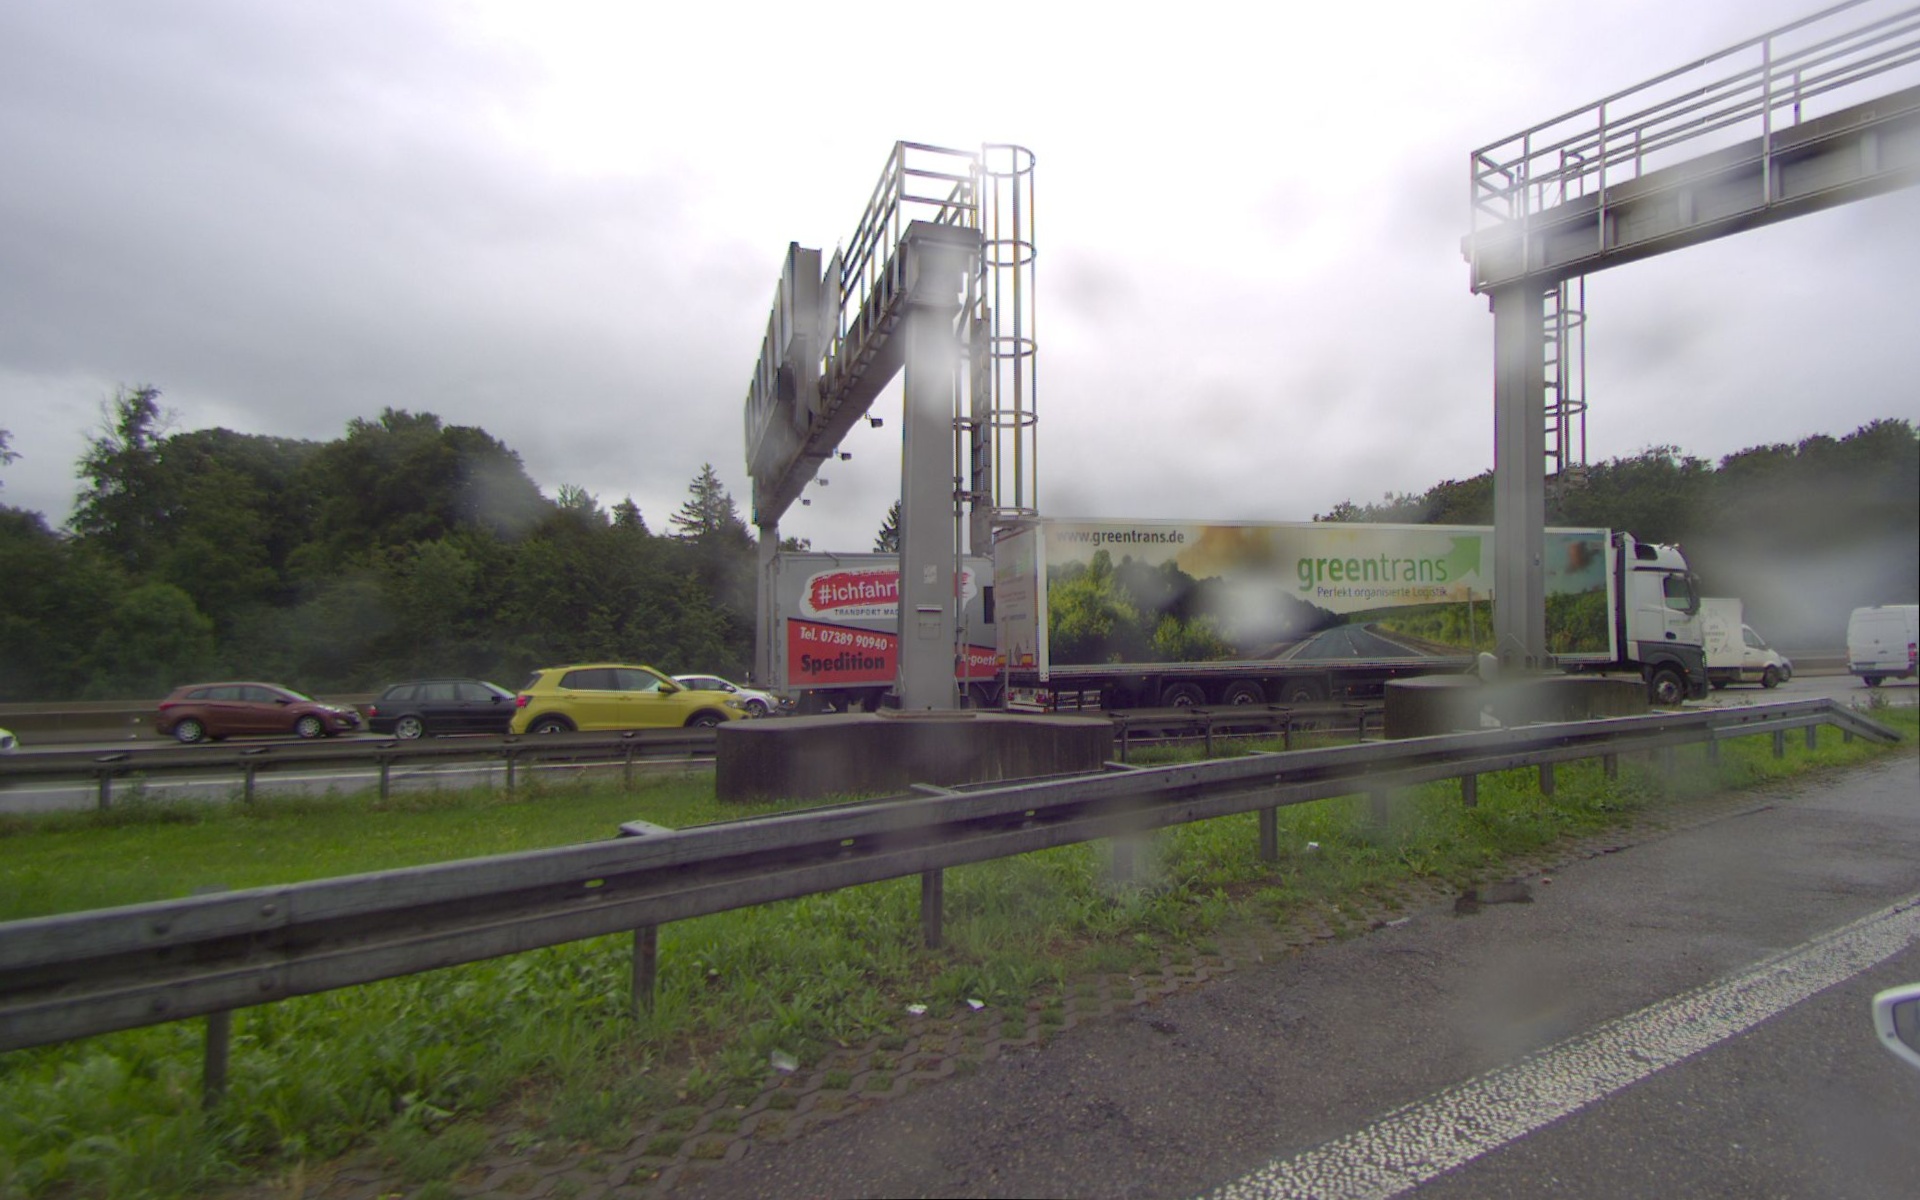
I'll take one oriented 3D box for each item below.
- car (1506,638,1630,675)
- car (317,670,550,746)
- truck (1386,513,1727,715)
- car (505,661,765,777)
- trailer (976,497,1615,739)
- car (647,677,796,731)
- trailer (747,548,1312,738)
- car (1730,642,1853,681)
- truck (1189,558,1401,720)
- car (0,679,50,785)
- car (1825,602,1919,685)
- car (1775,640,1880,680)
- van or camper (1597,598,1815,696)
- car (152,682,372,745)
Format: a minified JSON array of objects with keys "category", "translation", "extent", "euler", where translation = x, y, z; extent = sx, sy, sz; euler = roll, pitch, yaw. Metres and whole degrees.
[{"category":"car","translation":[25.514,2.353,42.158],"extent":[4.756,1.443,1.744],"euler":[0,-3,-18]},{"category":"car","translation":[-12.089,2.458,23.432],"extent":[4.465,1.550,1.994],"euler":[0,-3,-16]},{"category":"truck","translation":[13.568,0.384,23.017],"extent":[6.609,4.152,2.919],"euler":[0,-3,-17]},{"category":"car","translation":[-5.668,2.027,17.834],"extent":[4.172,1.817,1.793],"euler":[0,-3,-18]},{"category":"trailer","translation":[7.161,0.435,21.056],"extent":[13.413,4.259,2.919],"euler":[0,-3,-17]},{"category":"car","translation":[-7.013,3.011,29.527],"extent":[4.159,1.428,1.805],"euler":[0,-3,-17]},{"category":"trailer","translation":[1.885,0.956,24.046],"extent":[13.459,3.914,2.626],"euler":[0,-3,-18]},{"category":"car","translation":[35.469,2.615,42.856],"extent":[4.556,1.542,1.866],"euler":[0,-3,-18]},{"category":"truck","translation":[8.704,1.020,26.300],"extent":[4.516,3.914,2.626],"euler":[0,-3,-18]},{"category":"car","translation":[-16.451,1.966,14.349],"extent":[4.686,1.542,1.927],"euler":[0,-3,-17]},{"category":"car","translation":[32.658,1.450,34.104],"extent":[5.750,2.663,2.215],"euler":[0,-3,-18]},{"category":"car","translation":[39.515,2.705,45.768],"extent":[3.936,1.728,1.776],"euler":[0,-3,-18]},{"category":"van or camper","translation":[26.523,1.645,35.742],"extent":[7.018,3.245,2.578],"euler":[0,-3,-19]},{"category":"car","translation":[-17.918,2.889,25.997],"extent":[4.305,1.413,1.706],"euler":[0,-3,-16]}]
